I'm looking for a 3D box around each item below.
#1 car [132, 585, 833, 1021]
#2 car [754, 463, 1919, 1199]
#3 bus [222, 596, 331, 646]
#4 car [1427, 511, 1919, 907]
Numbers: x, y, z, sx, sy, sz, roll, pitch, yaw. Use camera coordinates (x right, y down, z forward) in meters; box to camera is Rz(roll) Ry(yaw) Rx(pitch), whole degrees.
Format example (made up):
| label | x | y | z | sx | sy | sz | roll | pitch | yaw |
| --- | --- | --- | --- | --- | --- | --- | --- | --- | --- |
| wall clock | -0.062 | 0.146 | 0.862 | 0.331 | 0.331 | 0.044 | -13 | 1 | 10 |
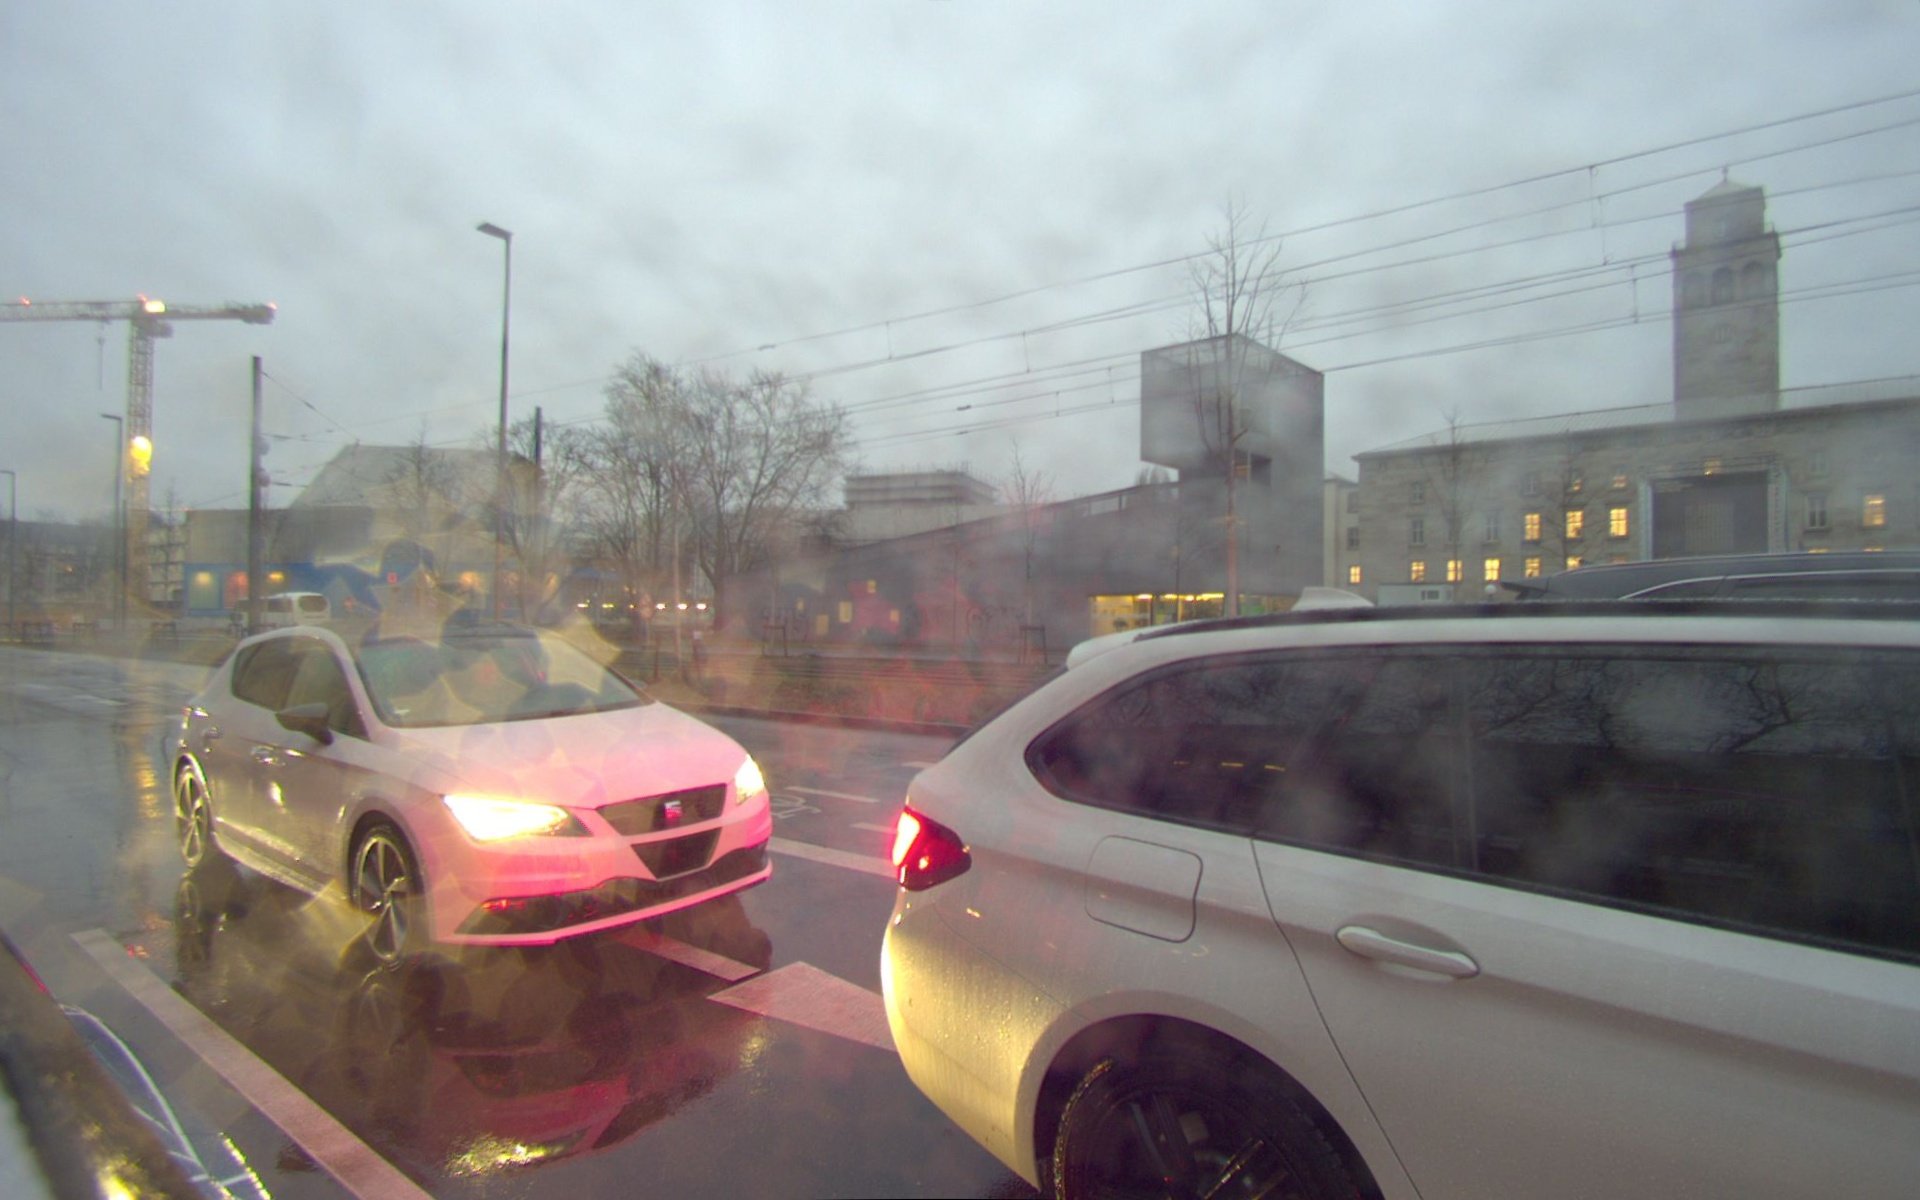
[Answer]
| label | x | y | z | sx | sy | sz | roll | pitch | yaw |
| --- | --- | --- | --- | --- | --- | --- | --- | --- | --- |
| car | -2.765 | 0.735 | 5.447 | 4.124 | 1.486 | 1.757 | -1 | -2 | 38 |
| car | 1.958 | 0.619 | 1.738 | 4.919 | 1.532 | 1.890 | -1 | -2 | 40 |
| bus | -53.336 | 1.643 | 78.762 | 12.277 | 3.605 | 2.783 | -1 | -2 | 35 |
| car | 4.983 | 0.497 | 5.009 | 4.605 | 1.756 | 1.686 | -1 | -2 | 38 |
